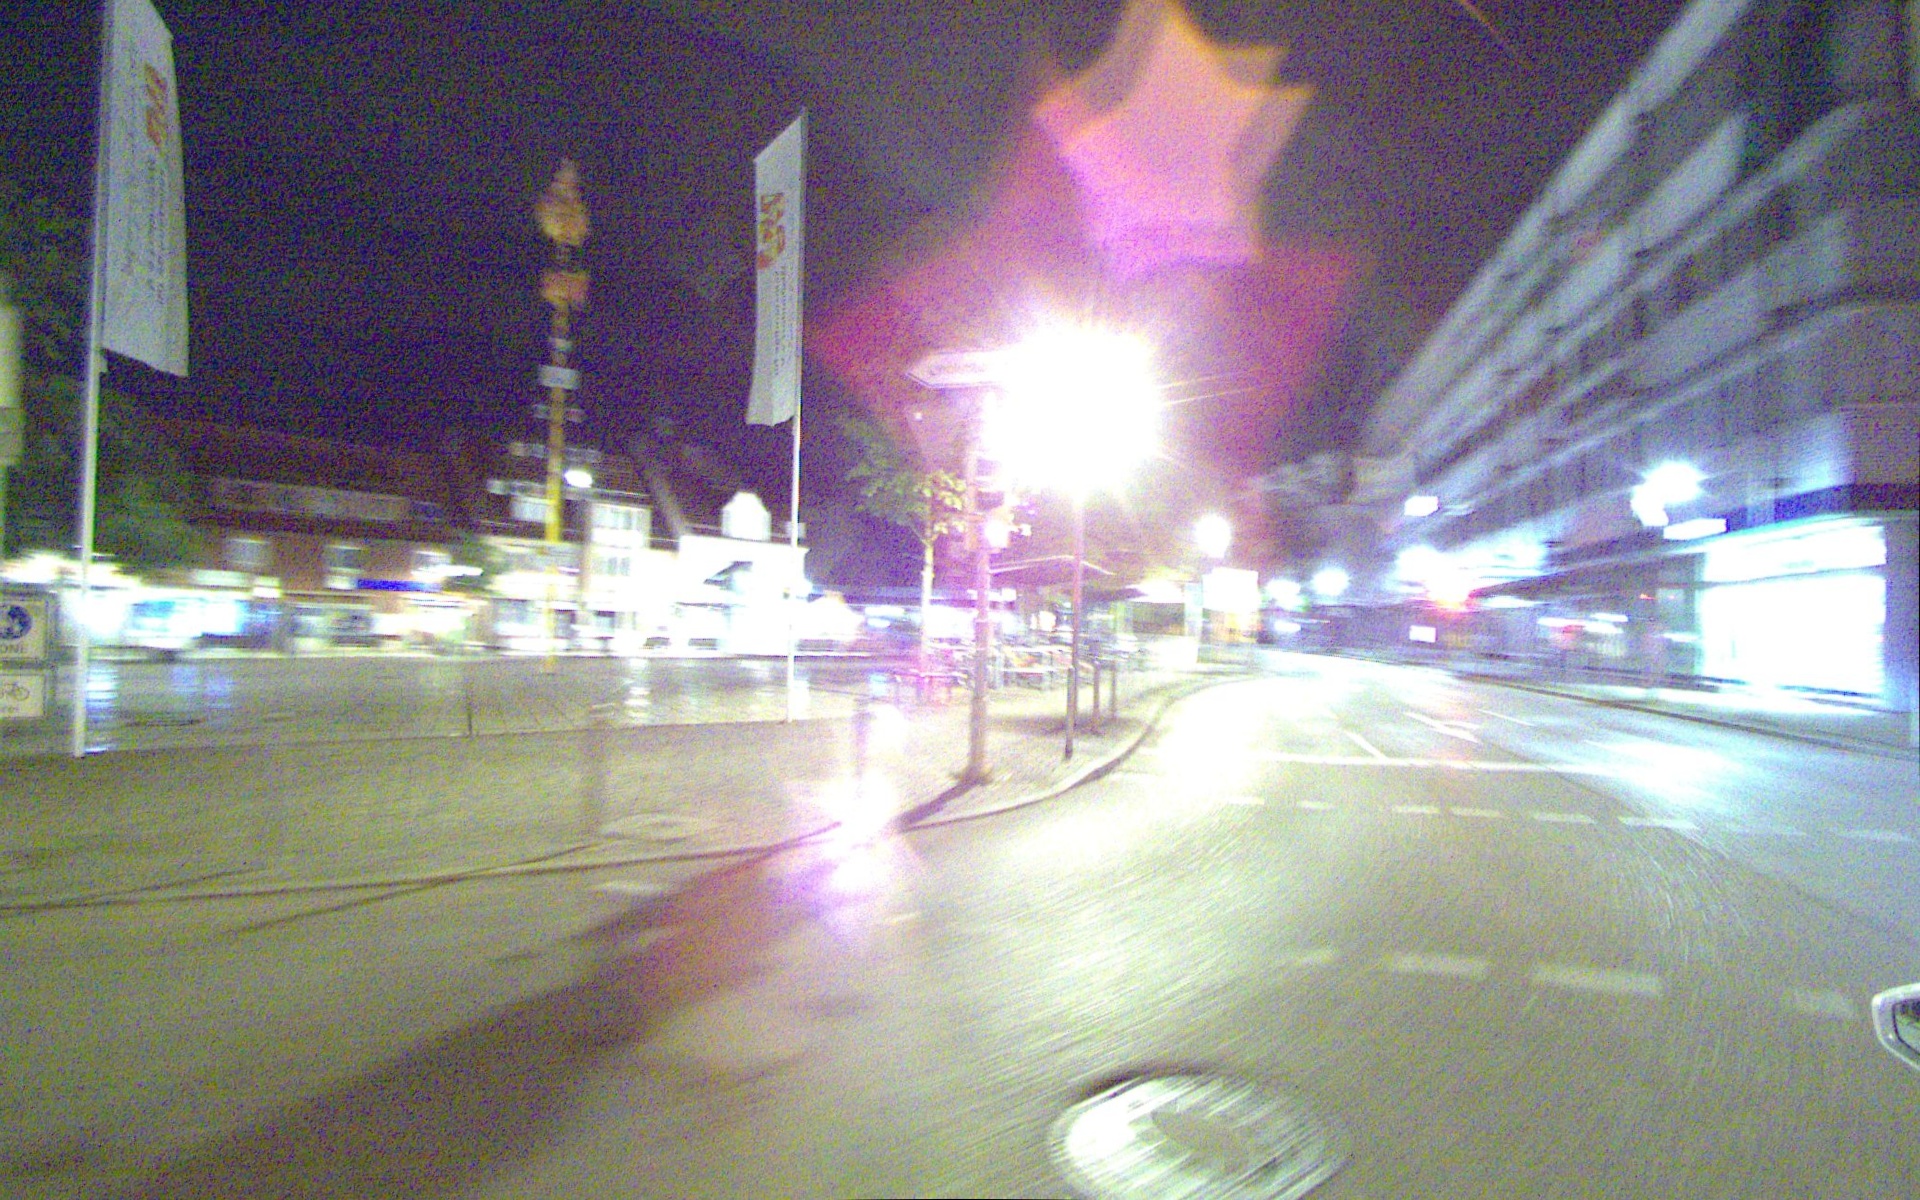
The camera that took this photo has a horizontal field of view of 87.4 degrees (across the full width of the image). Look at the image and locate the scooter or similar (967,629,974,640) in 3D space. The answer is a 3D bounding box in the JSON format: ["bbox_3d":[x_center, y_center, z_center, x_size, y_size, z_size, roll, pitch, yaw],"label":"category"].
[{"bbox_3d":[1.242,4.020,118.260,0.425,1.302,1.142,0,0,-19],"label":"scooter or similar"}]

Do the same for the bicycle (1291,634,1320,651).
[{"bbox_3d":[23.297,2.886,67.734,1.723,1.077,0.654,1,-1,-10],"label":"bicycle"}]

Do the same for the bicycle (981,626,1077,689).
[{"bbox_3d":[1.448,1.193,20.962,1.803,1.172,0.787,3,-1,20],"label":"bicycle"}]

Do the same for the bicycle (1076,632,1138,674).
[{"bbox_3d":[4.333,1.541,29.574,1.739,1.179,0.670,0,-1,15],"label":"bicycle"}]

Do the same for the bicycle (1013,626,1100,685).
[{"bbox_3d":[2.138,1.216,22.146,1.706,1.172,0.787,3,-1,20],"label":"bicycle"}]

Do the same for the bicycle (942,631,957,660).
[{"bbox_3d":[-0.477,1.980,43.994,0.597,1.181,1.746,0,-1,-3],"label":"bicycle"}]

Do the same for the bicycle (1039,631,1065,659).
[{"bbox_3d":[4.115,2.001,45.086,0.536,1.170,1.741,0,-1,-17],"label":"bicycle"}]

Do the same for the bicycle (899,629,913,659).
[{"bbox_3d":[-2.338,1.882,43.578,0.597,1.235,1.746,0,-1,-3],"label":"bicycle"}]

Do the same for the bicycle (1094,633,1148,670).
[{"bbox_3d":[5.057,1.605,31.520,1.588,1.120,0.671,1,-2,15],"label":"bicycle"}]

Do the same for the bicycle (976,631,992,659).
[{"bbox_3d":[1.035,1.969,44.118,0.597,1.140,1.746,0,-1,-3],"label":"bicycle"}]

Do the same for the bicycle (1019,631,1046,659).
[{"bbox_3d":[3.201,1.990,44.355,0.599,1.181,1.741,0,-1,-17],"label":"bicycle"}]

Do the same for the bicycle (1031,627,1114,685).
[{"bbox_3d":[2.580,1.269,23.100,1.706,1.182,0.787,3,0,20],"label":"bicycle"}]

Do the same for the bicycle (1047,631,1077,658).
[{"bbox_3d":[4.624,2.030,45.798,0.749,1.177,1.741,0,-1,-17],"label":"bicycle"}]

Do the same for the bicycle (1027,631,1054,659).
[{"bbox_3d":[3.607,1.997,45.104,0.599,1.181,1.741,0,-1,-17],"label":"bicycle"}]

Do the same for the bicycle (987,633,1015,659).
[{"bbox_3d":[1.820,2.028,44.499,0.600,1.084,1.739,0,-1,-21],"label":"bicycle"}]

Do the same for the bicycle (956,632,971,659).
[{"bbox_3d":[0.153,1.980,44.246,0.597,1.115,1.746,0,-1,-3],"label":"bicycle"}]

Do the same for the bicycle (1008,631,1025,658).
[{"bbox_3d":[2.547,1.995,45.200,0.597,1.181,1.747,0,-1,-2],"label":"bicycle"}]

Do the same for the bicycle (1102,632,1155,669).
[{"bbox_3d":[5.411,1.624,32.204,1.588,1.120,0.671,1,-2,15],"label":"bicycle"}]

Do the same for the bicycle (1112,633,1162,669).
[{"bbox_3d":[5.889,1.695,33.427,1.588,1.120,0.671,1,-2,15],"label":"bicycle"}]
